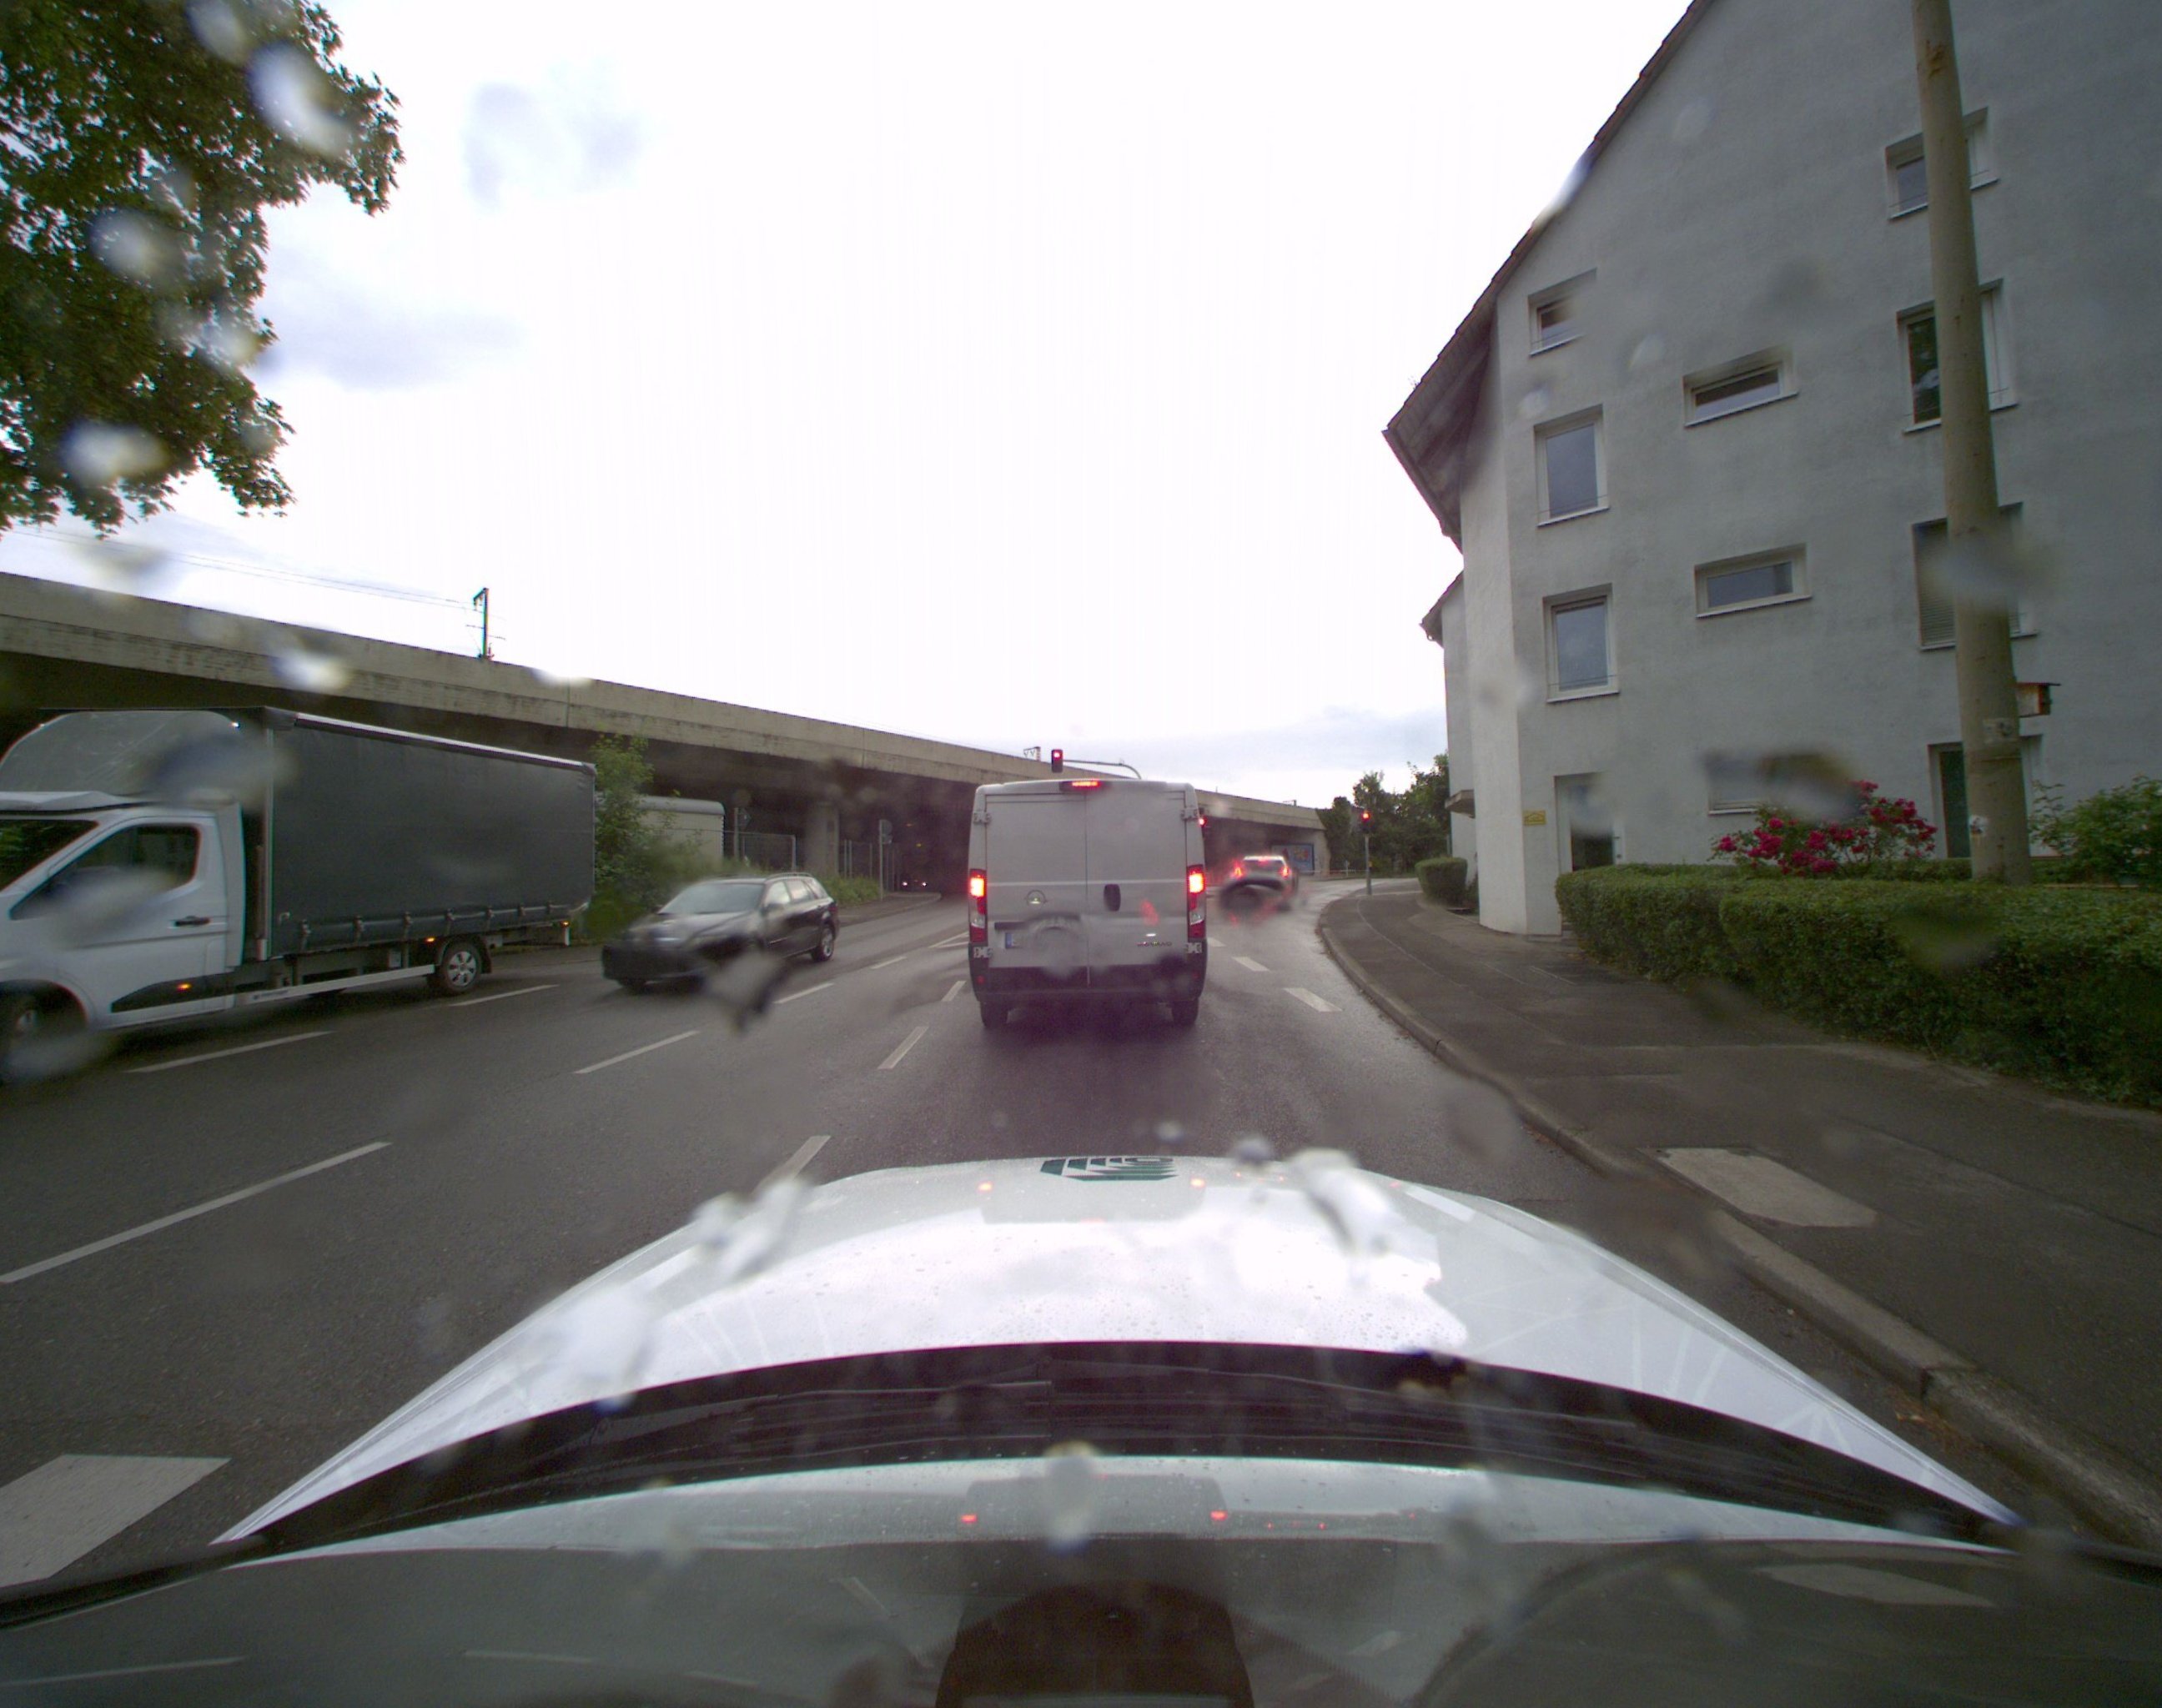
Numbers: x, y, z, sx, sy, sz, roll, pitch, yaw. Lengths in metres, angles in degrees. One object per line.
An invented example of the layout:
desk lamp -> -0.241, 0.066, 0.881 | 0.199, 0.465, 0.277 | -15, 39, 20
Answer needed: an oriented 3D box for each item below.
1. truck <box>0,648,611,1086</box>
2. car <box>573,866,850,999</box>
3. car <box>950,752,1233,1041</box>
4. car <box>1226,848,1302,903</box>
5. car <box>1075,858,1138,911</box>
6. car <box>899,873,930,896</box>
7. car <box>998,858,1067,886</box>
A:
truck -> -9.079, 0.172, 9.238 | 2.599, 3.237, 7.782 | -1, -1, 3
car -> -5.138, 0.986, 12.121 | 1.833, 1.569, 4.417 | -1, -1, 4
car -> 0.260, 0.360, 9.319 | 2.295, 2.343, 5.288 | -1, 0, 4
car -> 5.757, 0.685, 25.297 | 1.978, 1.549, 4.017 | -1, -2, 17
car -> 0.980, 1.055, 28.906 | 1.984, 1.729, 4.004 | -1, -2, 5
car -> -12.533, 2.262, 61.072 | 1.919, 1.626, 4.410 | -1, -1, -16
car -> -2.743, 1.016, 45.238 | 2.008, 1.519, 3.956 | 0, -2, -35
